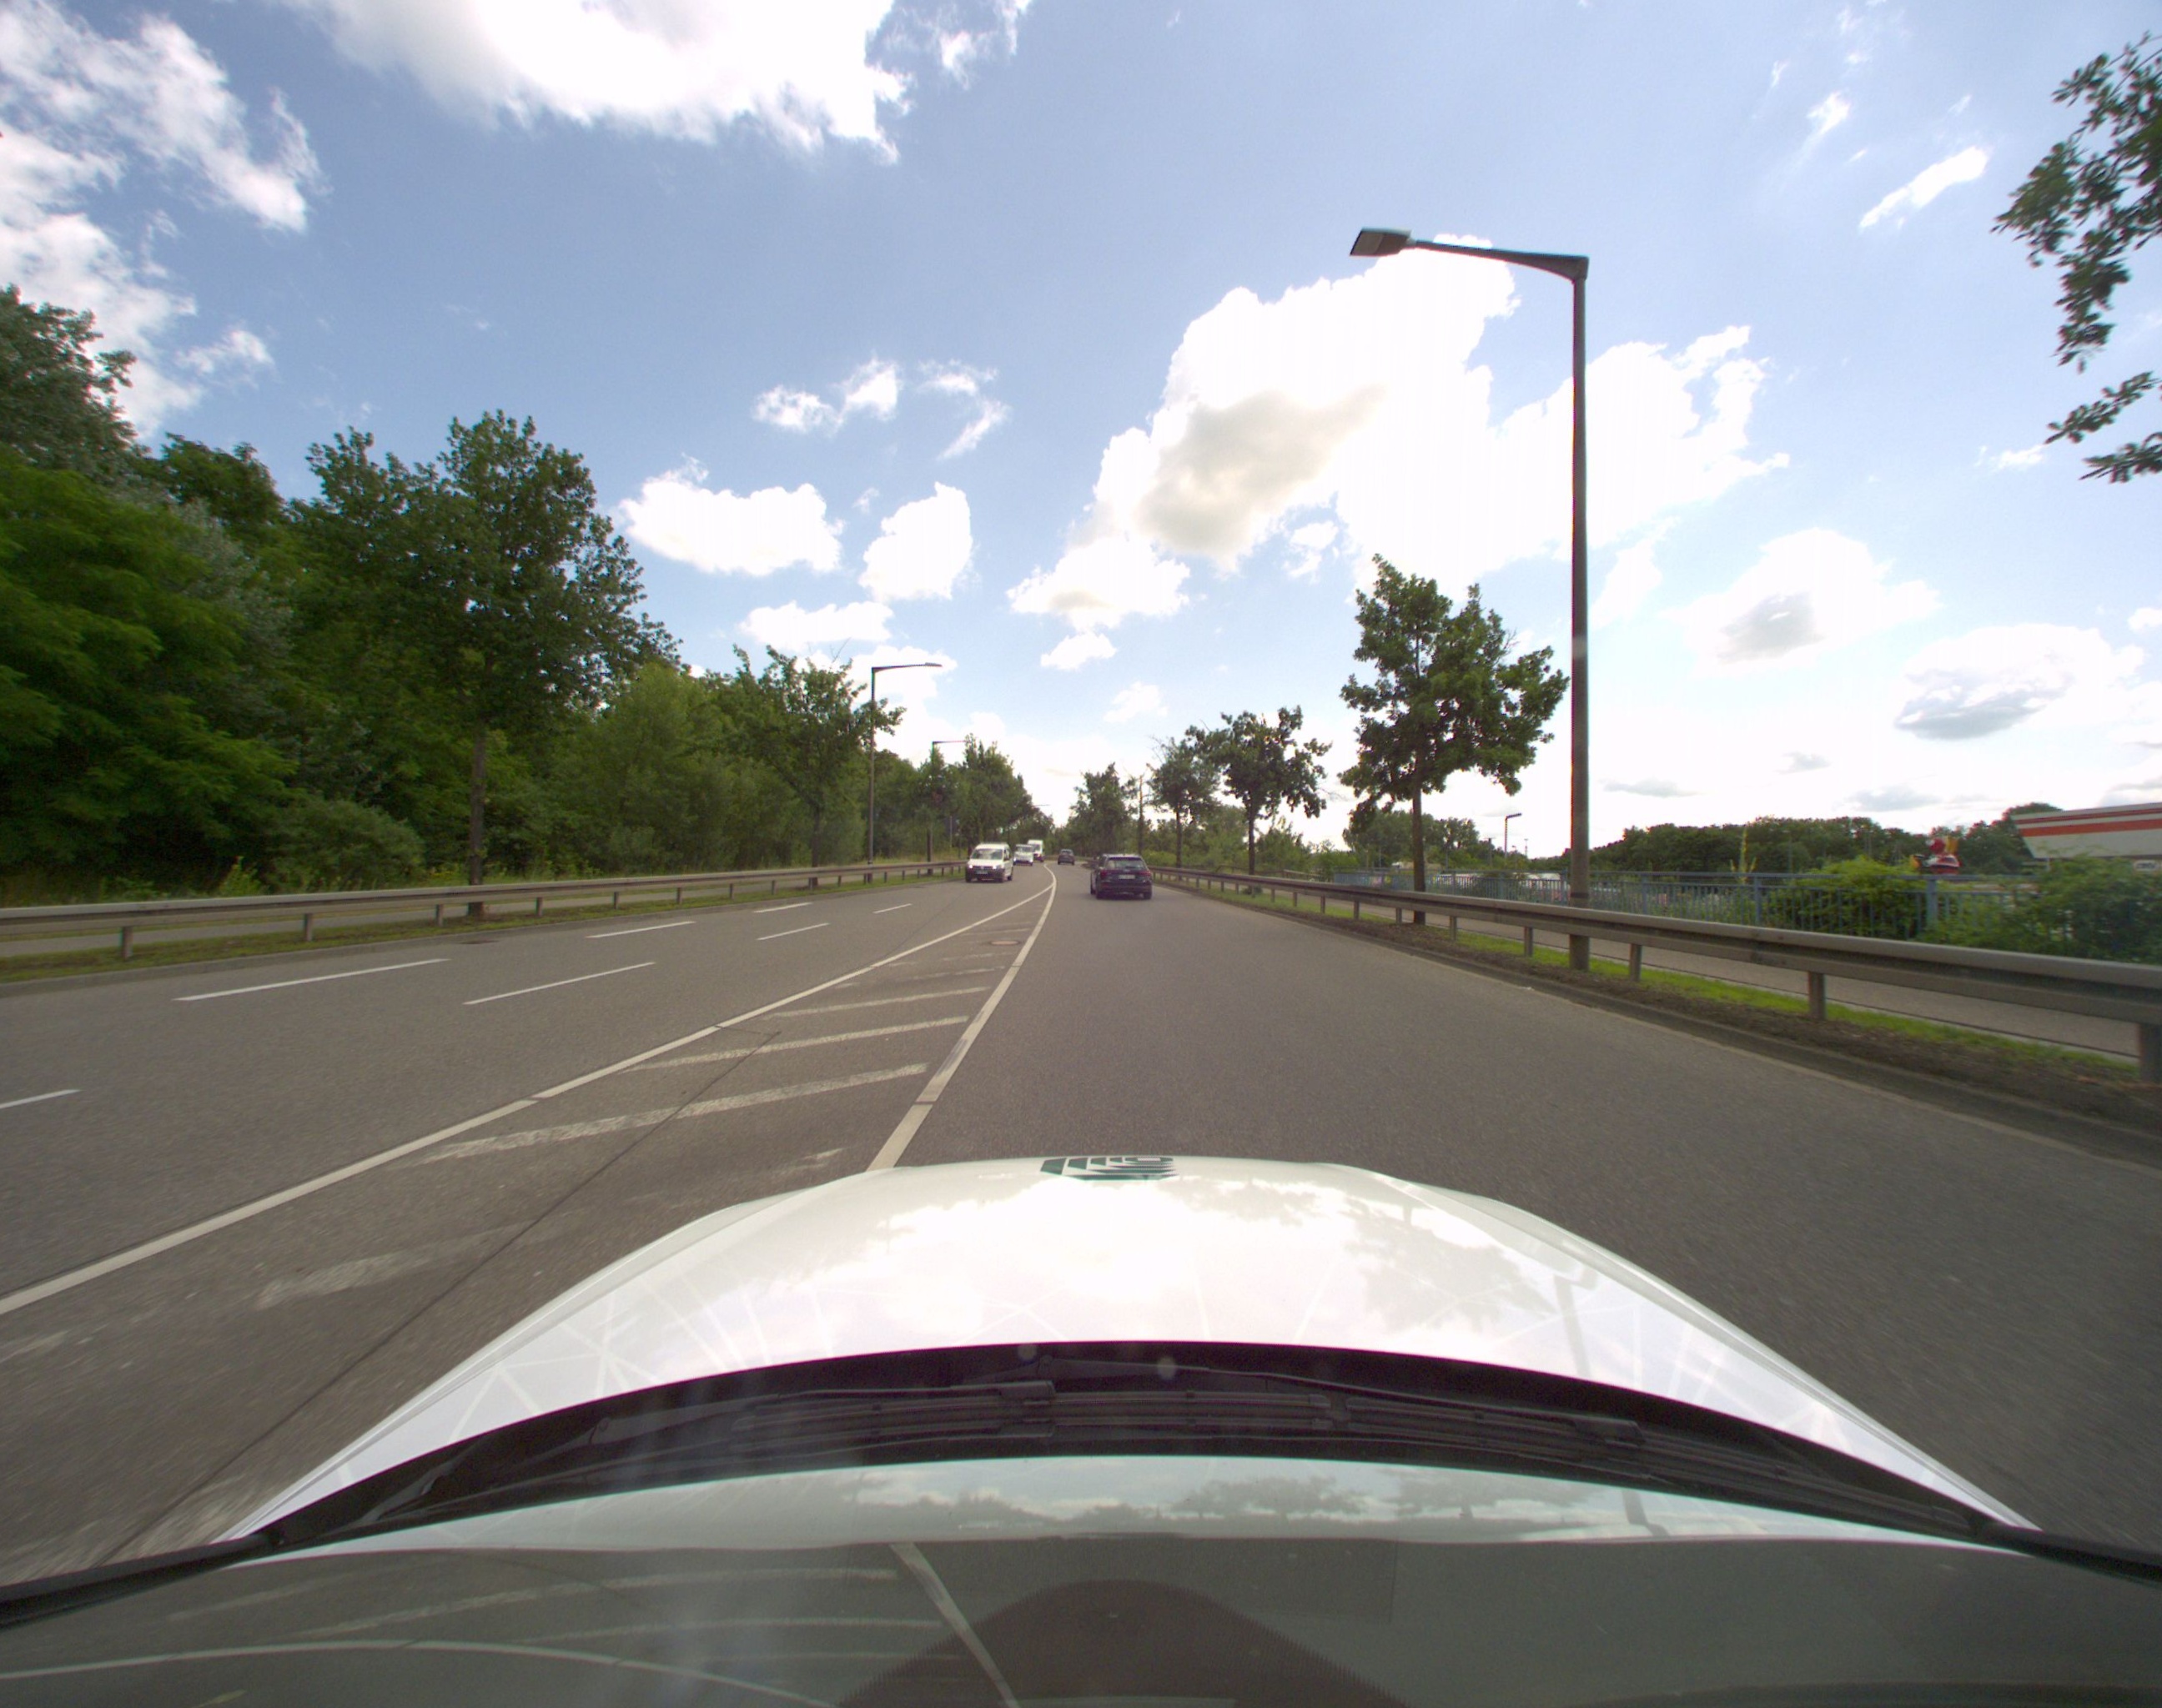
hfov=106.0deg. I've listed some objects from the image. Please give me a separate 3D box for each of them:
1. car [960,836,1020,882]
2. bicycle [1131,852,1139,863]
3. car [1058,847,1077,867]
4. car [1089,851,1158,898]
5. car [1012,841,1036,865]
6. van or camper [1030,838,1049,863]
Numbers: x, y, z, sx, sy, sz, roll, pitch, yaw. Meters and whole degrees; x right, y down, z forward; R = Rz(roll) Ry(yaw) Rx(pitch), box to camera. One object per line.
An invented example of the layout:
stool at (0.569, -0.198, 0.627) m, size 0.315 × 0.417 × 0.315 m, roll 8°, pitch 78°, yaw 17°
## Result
car at (-4.268, 0.180, 39.006) m, size 1.984 × 2.013 × 4.564 m, roll 1°, pitch 1°, yaw 5°
bicycle at (4.522, 0.281, 68.176) m, size 0.540 × 0.866 × 1.749 m, roll 2°, pitch -1°, yaw 1°
car at (-1.505, 0.412, 90.644) m, size 1.987 × 2.037 × 4.711 m, roll 1°, pitch -2°, yaw 0°
car at (1.321, 0.638, 27.225) m, size 1.988 × 1.390 × 4.573 m, roll 2°, pitch 0°, yaw -1°
car at (-5.194, -0.068, 74.189) m, size 1.990 × 2.014 × 4.448 m, roll 3°, pitch -1°, yaw -4°
van or camper at (-4.855, -0.393, 95.347) m, size 1.989 × 2.750 × 5.379 m, roll 3°, pitch -1°, yaw -3°
